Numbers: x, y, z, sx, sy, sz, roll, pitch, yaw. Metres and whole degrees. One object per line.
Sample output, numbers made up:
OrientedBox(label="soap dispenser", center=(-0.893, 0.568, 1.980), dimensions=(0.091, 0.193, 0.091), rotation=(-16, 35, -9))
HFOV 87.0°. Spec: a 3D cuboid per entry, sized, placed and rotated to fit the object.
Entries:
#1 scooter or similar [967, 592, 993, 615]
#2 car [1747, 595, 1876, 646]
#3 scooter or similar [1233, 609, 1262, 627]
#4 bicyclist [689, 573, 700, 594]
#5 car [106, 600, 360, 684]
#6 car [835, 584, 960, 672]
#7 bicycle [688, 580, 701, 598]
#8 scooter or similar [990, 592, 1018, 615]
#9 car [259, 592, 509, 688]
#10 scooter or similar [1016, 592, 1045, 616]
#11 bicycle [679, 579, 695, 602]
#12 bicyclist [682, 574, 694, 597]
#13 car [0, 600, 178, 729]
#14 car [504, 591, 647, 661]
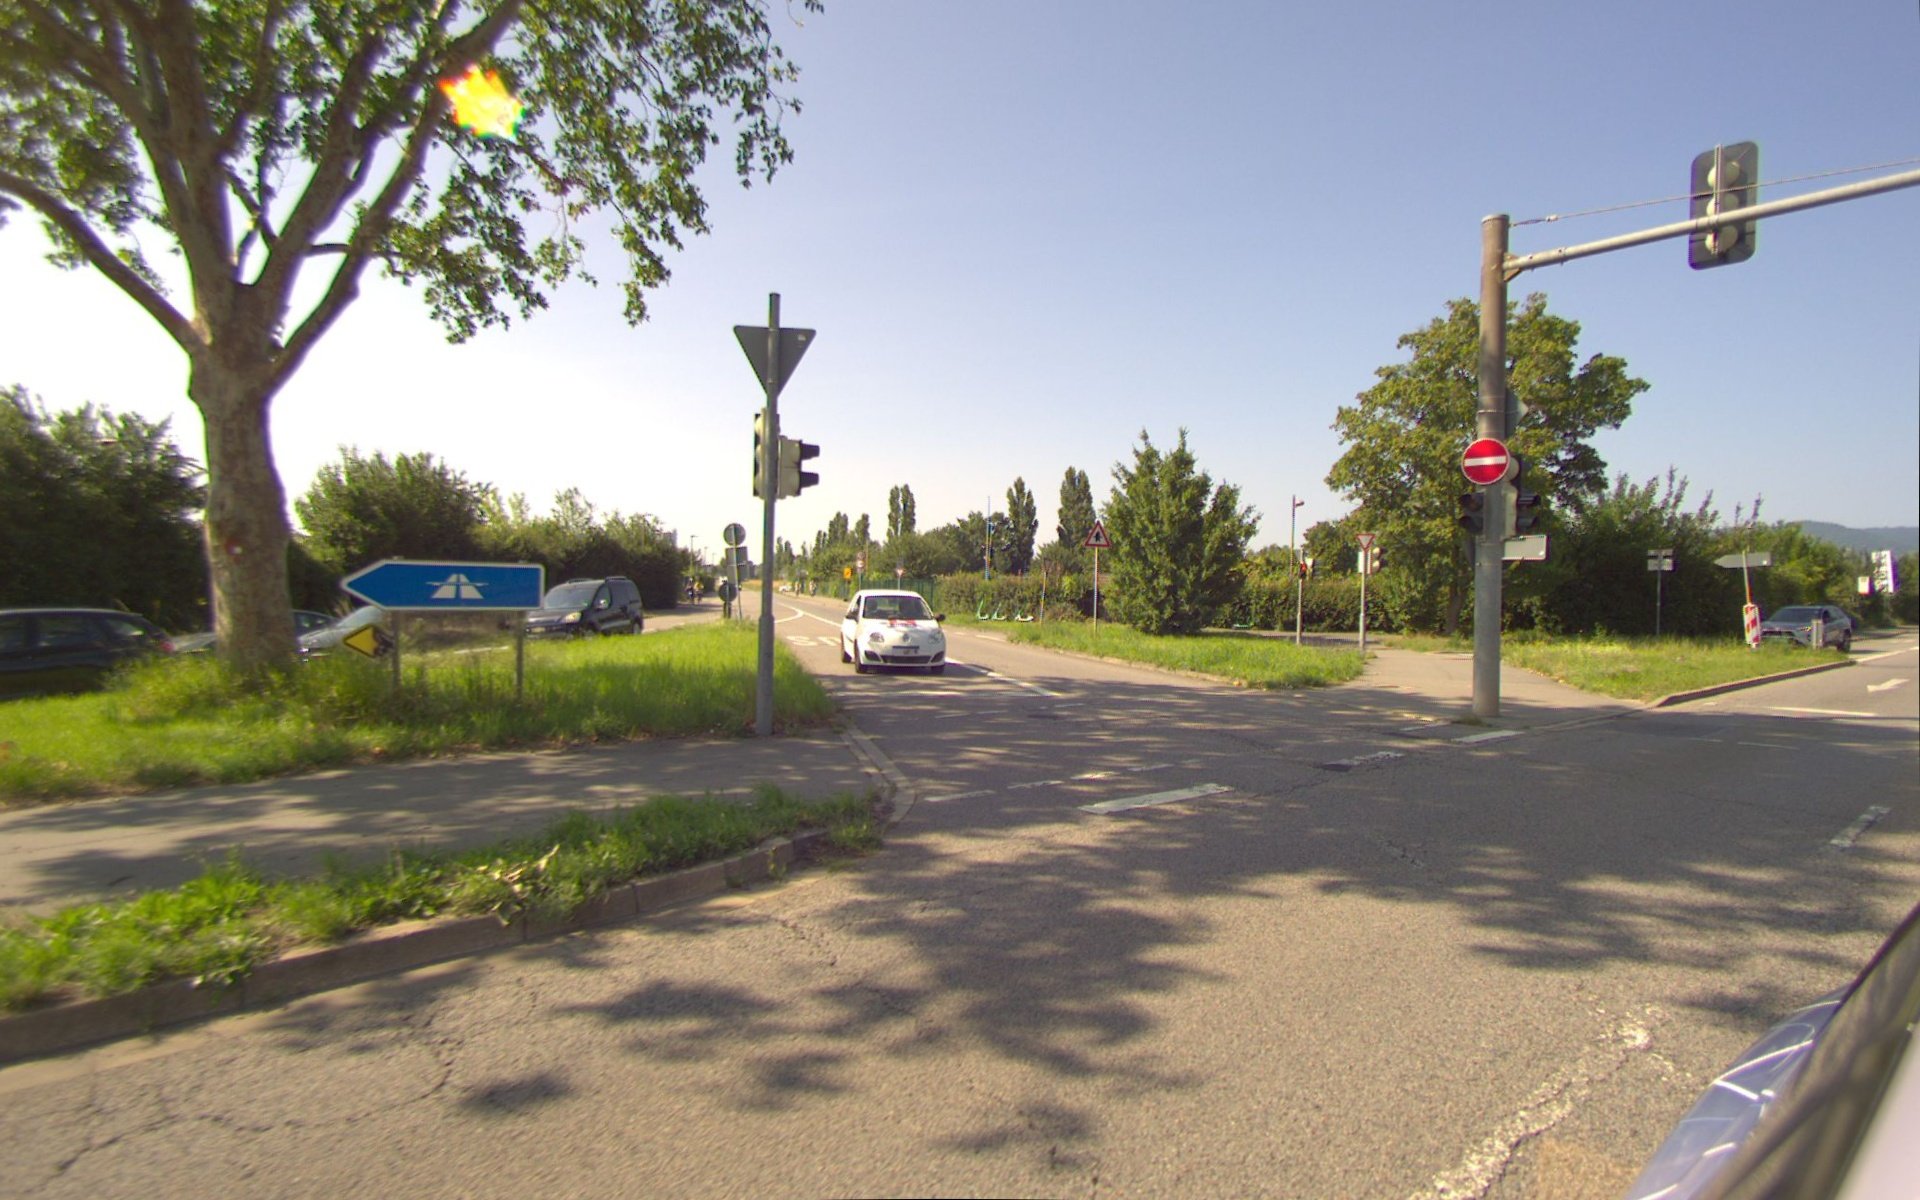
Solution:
OrientedBox(label="scooter or similar", center=(1.003, 0.171, 51.411), dimensions=(1.379, 1.131, 0.493), rotation=(0, 0, 43))
OrientedBox(label="car", center=(30.115, 0.675, 35.783), dimensions=(4.588, 1.701, 1.911), rotation=(0, 1, -28))
OrientedBox(label="scooter or similar", center=(12.482, 0.773, 43.951), dimensions=(1.113, 0.735, 0.431), rotation=(2, 1, 30))
OrientedBox(label="bicyclist", center=(-17.889, -1.099, 68.233), dimensions=(0.599, 1.398, 0.920), rotation=(0, 0, -7))
OrientedBox(label="car", center=(-14.408, 0.767, 20.374), dimensions=(1.860, 1.438, 3.988), rotation=(-1, 1, 10))
OrientedBox(label="car", center=(-1.295, 0.452, 19.218), dimensions=(1.748, 1.487, 3.763), rotation=(0, 1, -13))
OrientedBox(label="bicycle", center=(-17.886, -0.745, 68.247), dimensions=(0.599, 1.248, 2.284), rotation=(0, 0, -7))
OrientedBox(label="scooter or similar", center=(2.187, 0.179, 50.262), dimensions=(1.379, 1.131, 0.493), rotation=(0, 0, 43))
OrientedBox(label="car", center=(-11.101, 0.690, 19.929), dimensions=(1.857, 1.655, 4.455), rotation=(-1, 0, 10))
OrientedBox(label="scooter or similar", center=(3.439, 0.183, 49.426), dimensions=(1.373, 1.131, 0.495), rotation=(0, 0, 32))
OrientedBox(label="bicycle", center=(-16.706, -0.587, 61.968), dimensions=(0.599, 1.393, 2.284), rotation=(0, 0, -7))
OrientedBox(label="bicyclist", center=(-16.702, -0.869, 62.064), dimensions=(0.599, 1.398, 0.920), rotation=(0, 0, -7))
OrientedBox(label="car", center=(-12.766, 0.815, 12.674), dimensions=(1.971, 1.547, 4.448), rotation=(0, 1, 15))
OrientedBox(label="car", center=(-9.957, 0.622, 26.620), dimensions=(1.853, 1.655, 4.465), rotation=(-1, 0, 3))
